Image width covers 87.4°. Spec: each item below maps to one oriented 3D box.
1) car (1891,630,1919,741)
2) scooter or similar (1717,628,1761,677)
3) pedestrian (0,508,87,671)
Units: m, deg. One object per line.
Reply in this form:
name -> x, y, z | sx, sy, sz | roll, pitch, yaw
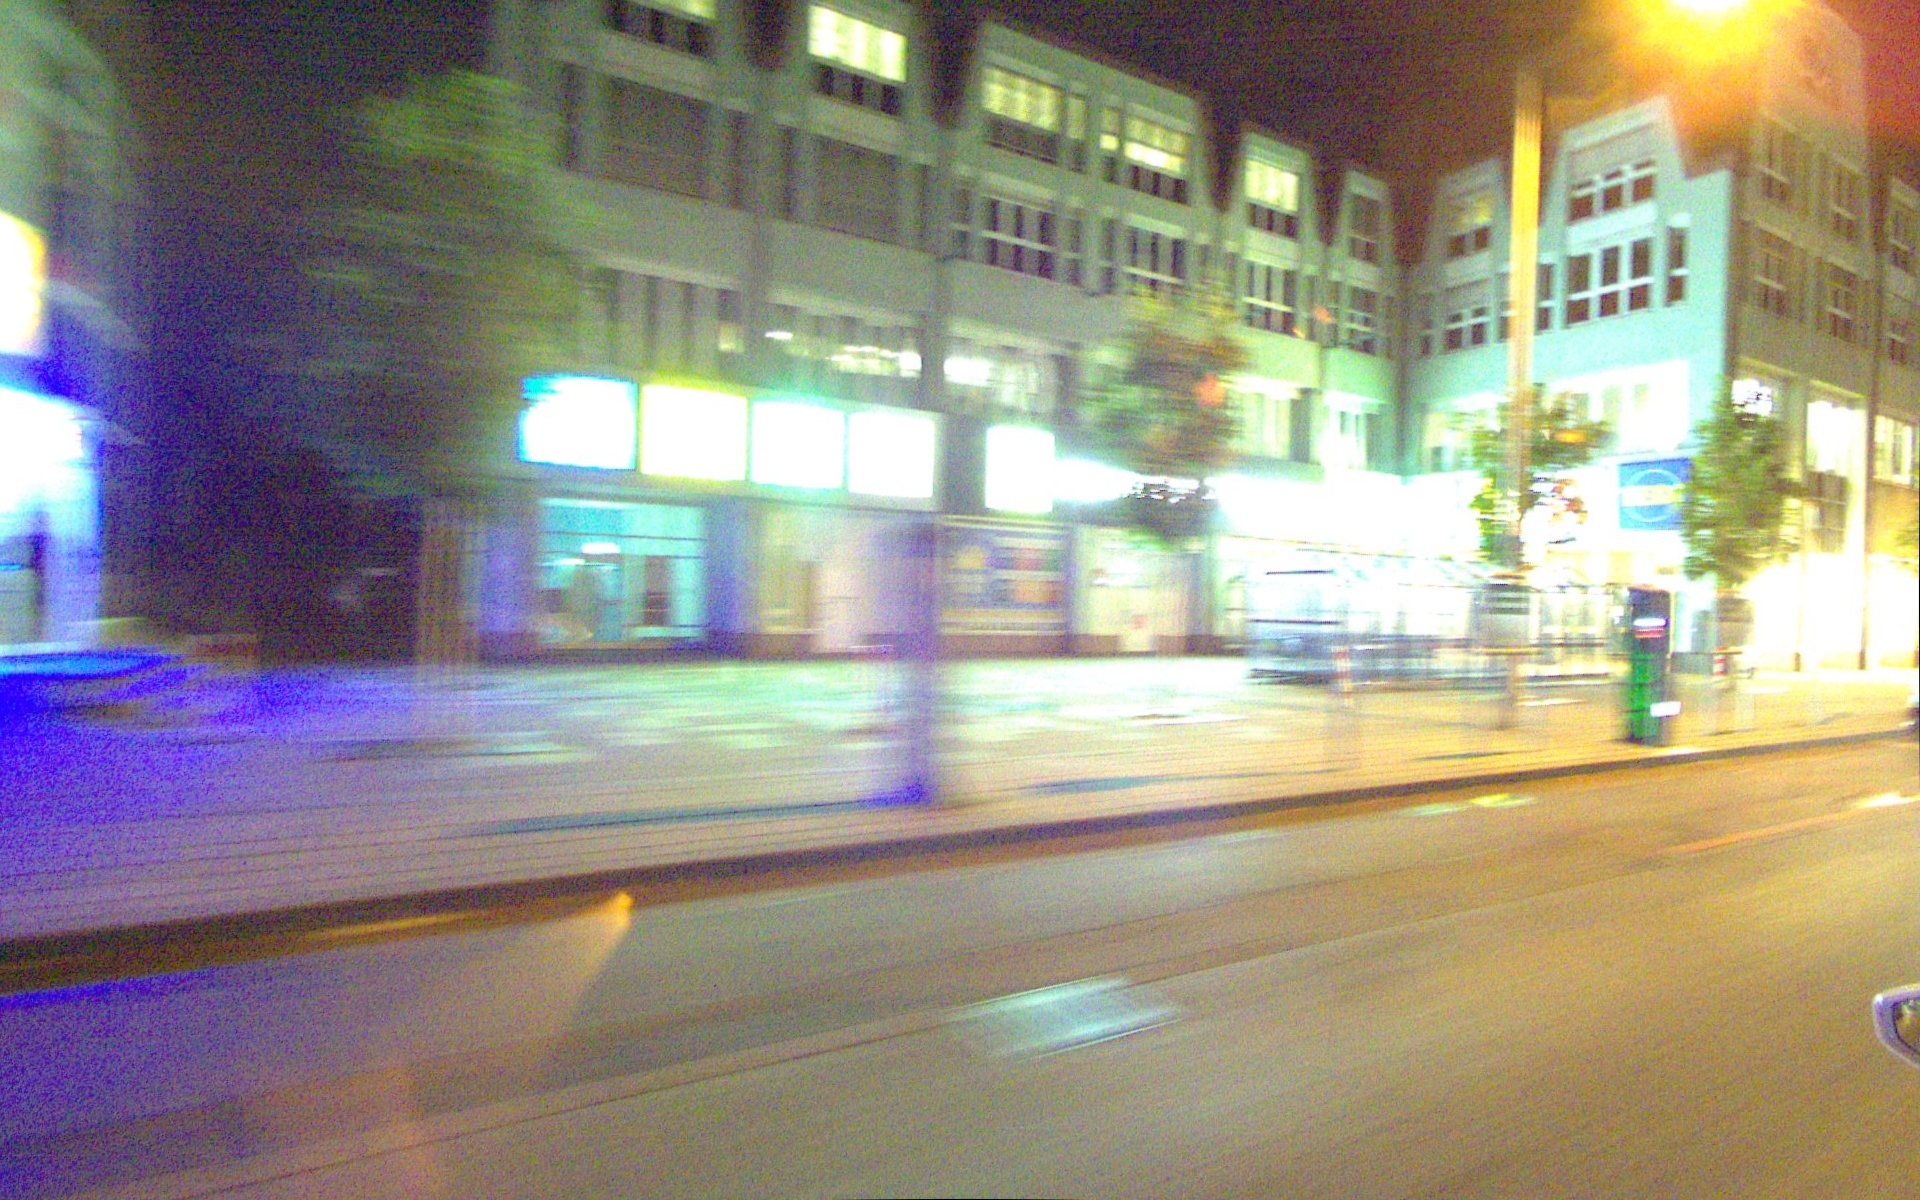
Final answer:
car -> 14.794, 1.196, 13.771 | 4.443, 1.432, 1.733 | 2, 1, -30
scooter or similar -> 20.248, 1.350, 26.096 | 1.327, 1.237, 0.386 | 2, 0, -28
pedestrian -> -9.668, -0.104, 10.564 | 0.624, 1.658, 0.476 | 1, 0, -30
